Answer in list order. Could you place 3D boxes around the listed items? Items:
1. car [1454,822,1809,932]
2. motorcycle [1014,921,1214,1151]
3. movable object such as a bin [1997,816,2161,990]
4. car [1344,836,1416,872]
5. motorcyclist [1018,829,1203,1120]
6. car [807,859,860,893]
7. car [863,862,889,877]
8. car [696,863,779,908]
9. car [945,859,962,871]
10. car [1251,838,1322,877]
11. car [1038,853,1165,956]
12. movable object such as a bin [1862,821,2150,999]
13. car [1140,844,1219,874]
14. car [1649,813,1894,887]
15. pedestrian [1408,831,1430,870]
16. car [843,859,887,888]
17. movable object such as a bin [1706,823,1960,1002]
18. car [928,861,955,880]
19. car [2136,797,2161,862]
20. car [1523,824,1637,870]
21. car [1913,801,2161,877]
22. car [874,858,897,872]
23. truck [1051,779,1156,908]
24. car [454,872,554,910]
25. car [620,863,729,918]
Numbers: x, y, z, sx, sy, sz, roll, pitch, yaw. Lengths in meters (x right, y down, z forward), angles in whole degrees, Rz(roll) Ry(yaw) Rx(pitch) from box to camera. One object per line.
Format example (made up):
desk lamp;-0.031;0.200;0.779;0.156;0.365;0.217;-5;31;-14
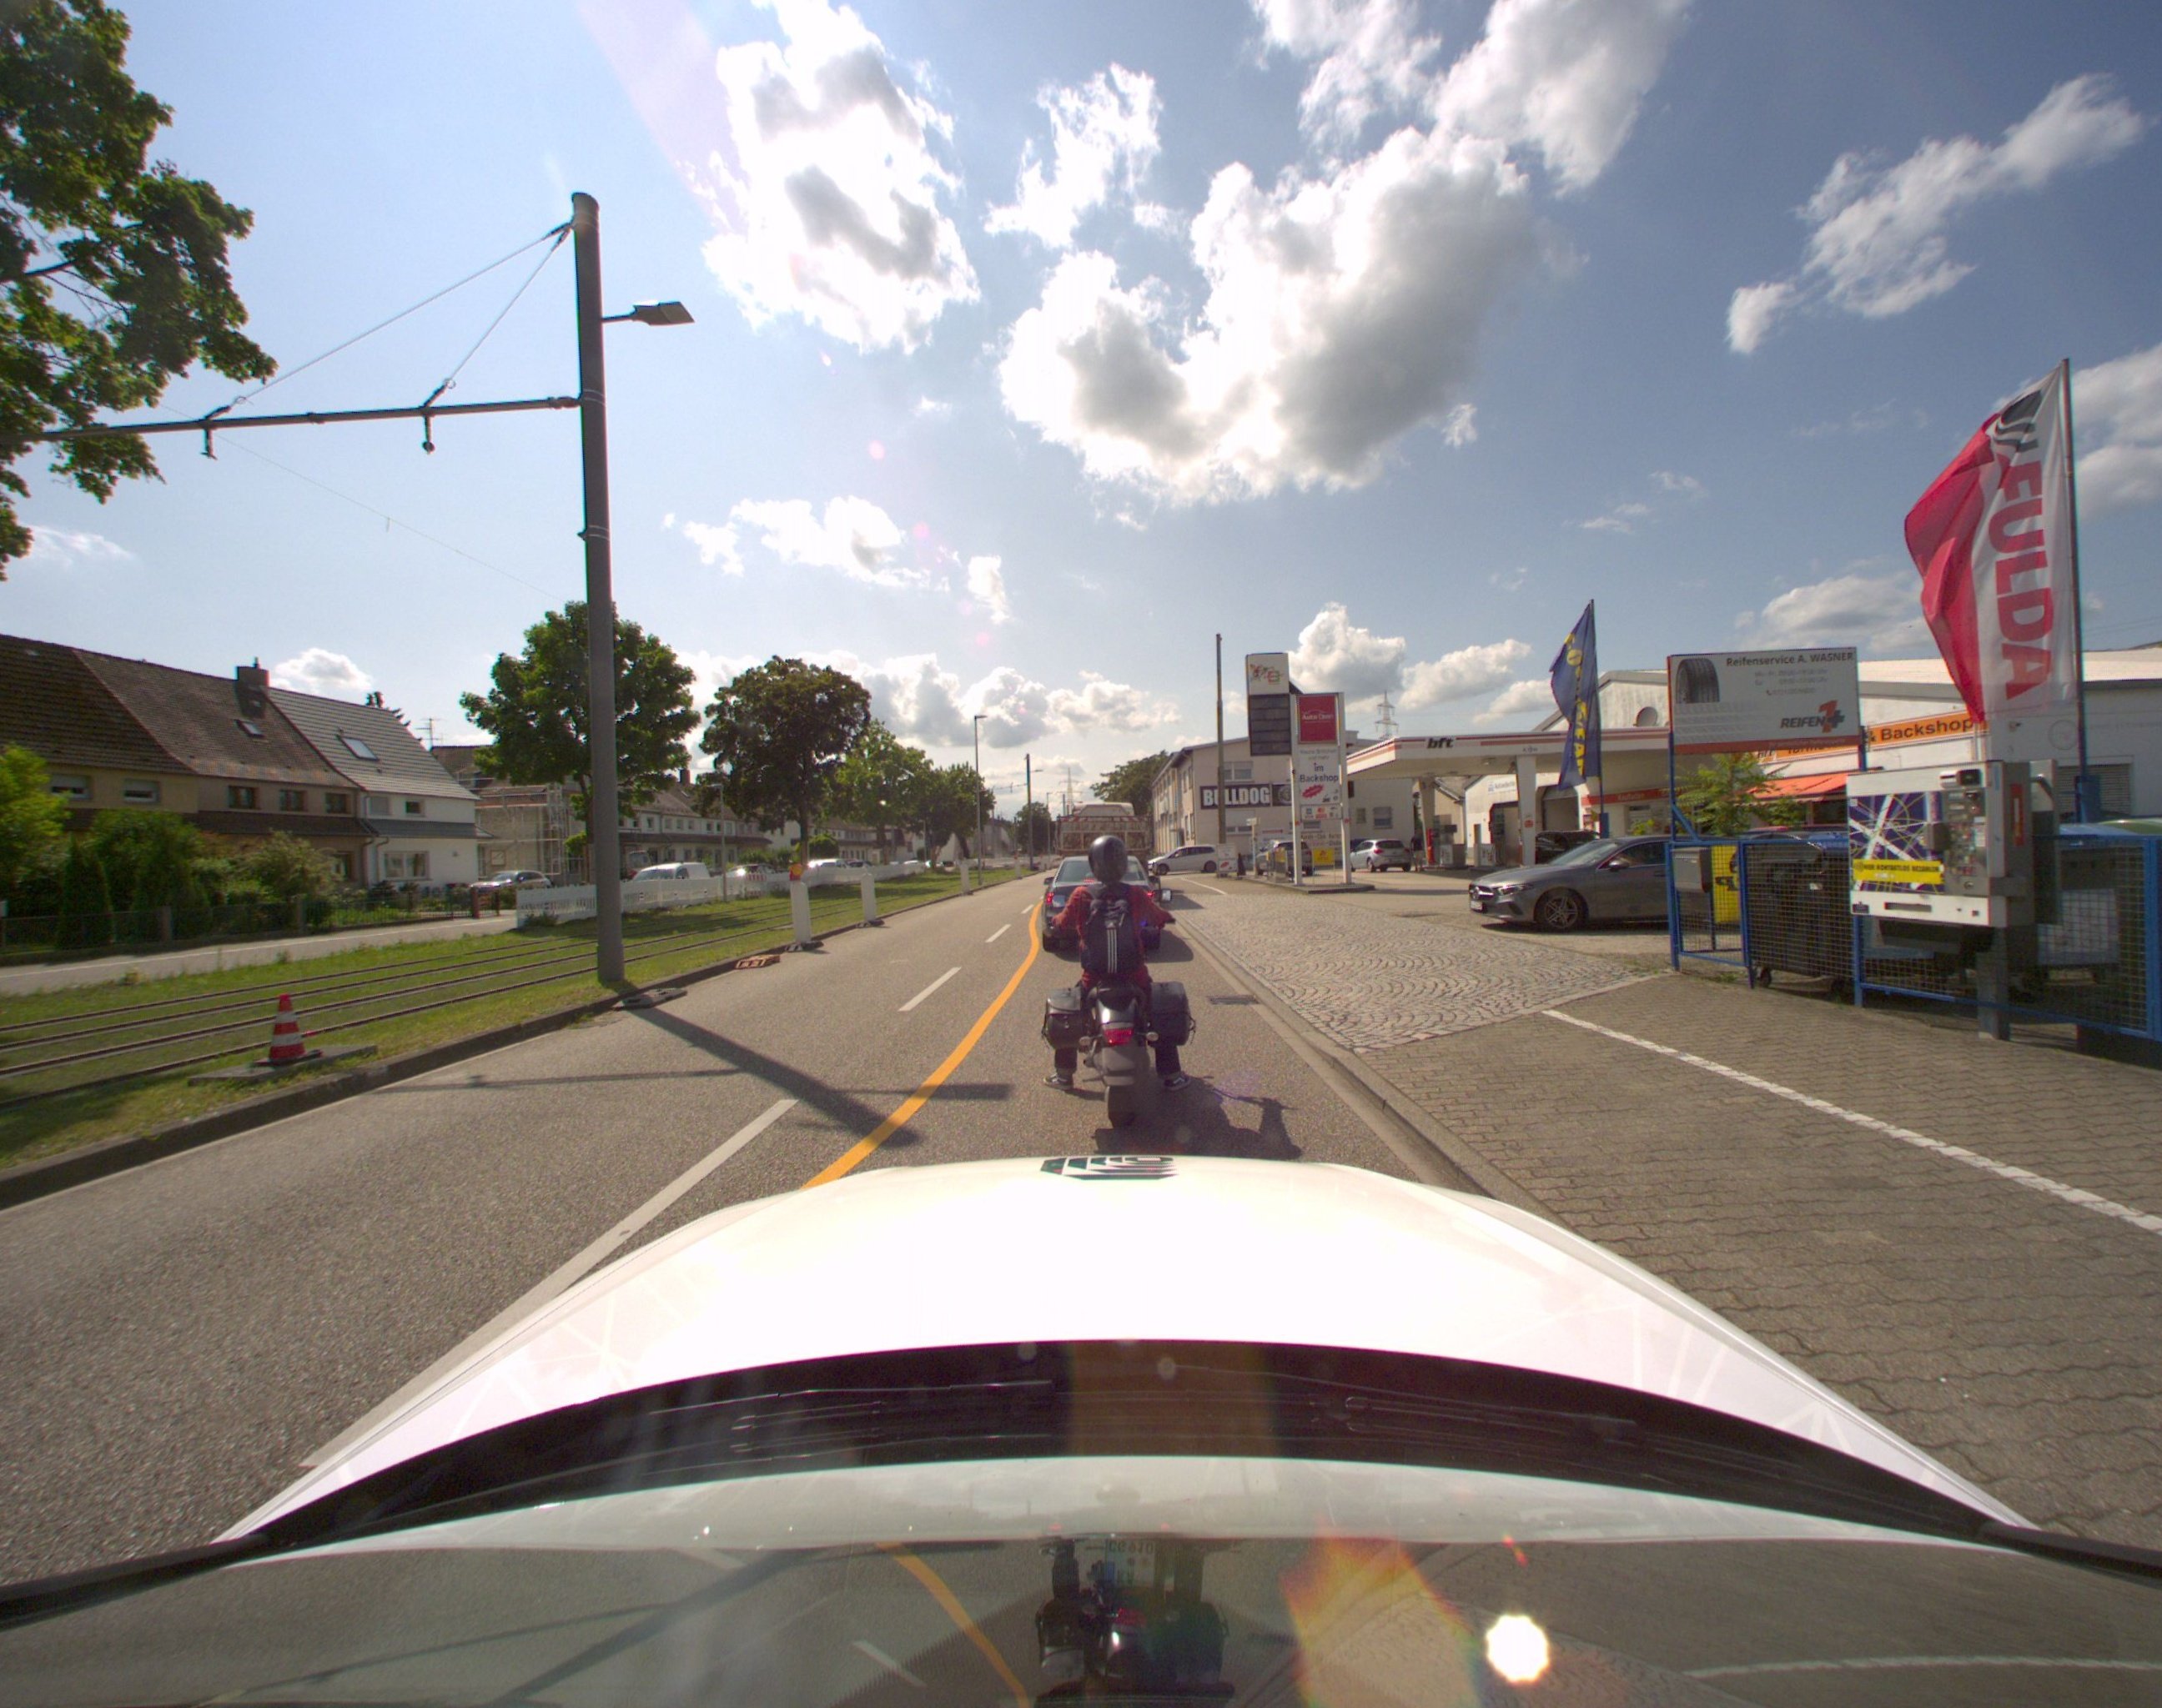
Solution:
car;8.304;0.334;12.611;4.252;1.415;1.676;-2;0;5
motorcycle;0.208;1.028;5.442;0.975;0.897;2.654;-2;0;2
movable object such as a bin;9.490;0.377;7.129;1.397;1.396;1.338;-2;0;1
car;13.477;-0.010;36.918;1.800;1.503;3.832;-2;0;-1
motorcyclist;0.184;0.679;5.138;0.975;1.602;1.088;-2;0;1
car;-15.064;1.327;49.857;1.769;1.867;4.130;-2;0;2
car;-24.394;1.832;97.037;1.769;1.722;4.130;-2;0;2
car;-15.408;1.369;36.795;1.769;1.774;4.230;-2;0;2
car;-19.641;1.623;125.912;1.769;1.722;4.130;-2;0;2
car;9.117;0.149;36.451;1.665;1.562;4.235;-2;0;-6
car;0.361;0.728;13.711;1.816;1.452;4.002;0;0;2
movable object such as a bin;8.087;0.447;7.216;1.104;1.396;1.244;-2;0;1
car;5.662;0.290;47.062;4.225;1.543;1.669;-2;0;-7
car;15.777;-0.088;18.756;4.180;1.463;1.587;-2;0;2
pedestrian;14.653;-0.133;35.317;0.701;1.656;0.551;-2;0;37
car;-14.805;1.333;56.034;1.769;1.805;4.130;-2;0;2
movable object such as a bin;6.693;0.481;7.357;1.104;1.436;1.244;-2;0;1
car;-13.732;1.626;80.451;1.769;1.722;4.130;-2;0;2
car;26.529;-0.637;18.002;4.180;1.463;1.587;-2;0;2
car;18.121;-0.248;29.783;1.800;1.503;3.833;-2;0;0
car;21.525;-0.340;18.164;4.180;1.463;1.587;-2;0;2
car;-25.166;1.394;105.198;1.769;1.722;4.130;-2;0;2
truck;0.729;-0.287;25.497;2.628;3.296;8.059;-2;0;2
car;-27.436;1.727;38.889;1.769;1.519;4.002;-2;0;2
car;-15.412;1.316;31.151;1.769;1.821;4.366;-2;0;2
